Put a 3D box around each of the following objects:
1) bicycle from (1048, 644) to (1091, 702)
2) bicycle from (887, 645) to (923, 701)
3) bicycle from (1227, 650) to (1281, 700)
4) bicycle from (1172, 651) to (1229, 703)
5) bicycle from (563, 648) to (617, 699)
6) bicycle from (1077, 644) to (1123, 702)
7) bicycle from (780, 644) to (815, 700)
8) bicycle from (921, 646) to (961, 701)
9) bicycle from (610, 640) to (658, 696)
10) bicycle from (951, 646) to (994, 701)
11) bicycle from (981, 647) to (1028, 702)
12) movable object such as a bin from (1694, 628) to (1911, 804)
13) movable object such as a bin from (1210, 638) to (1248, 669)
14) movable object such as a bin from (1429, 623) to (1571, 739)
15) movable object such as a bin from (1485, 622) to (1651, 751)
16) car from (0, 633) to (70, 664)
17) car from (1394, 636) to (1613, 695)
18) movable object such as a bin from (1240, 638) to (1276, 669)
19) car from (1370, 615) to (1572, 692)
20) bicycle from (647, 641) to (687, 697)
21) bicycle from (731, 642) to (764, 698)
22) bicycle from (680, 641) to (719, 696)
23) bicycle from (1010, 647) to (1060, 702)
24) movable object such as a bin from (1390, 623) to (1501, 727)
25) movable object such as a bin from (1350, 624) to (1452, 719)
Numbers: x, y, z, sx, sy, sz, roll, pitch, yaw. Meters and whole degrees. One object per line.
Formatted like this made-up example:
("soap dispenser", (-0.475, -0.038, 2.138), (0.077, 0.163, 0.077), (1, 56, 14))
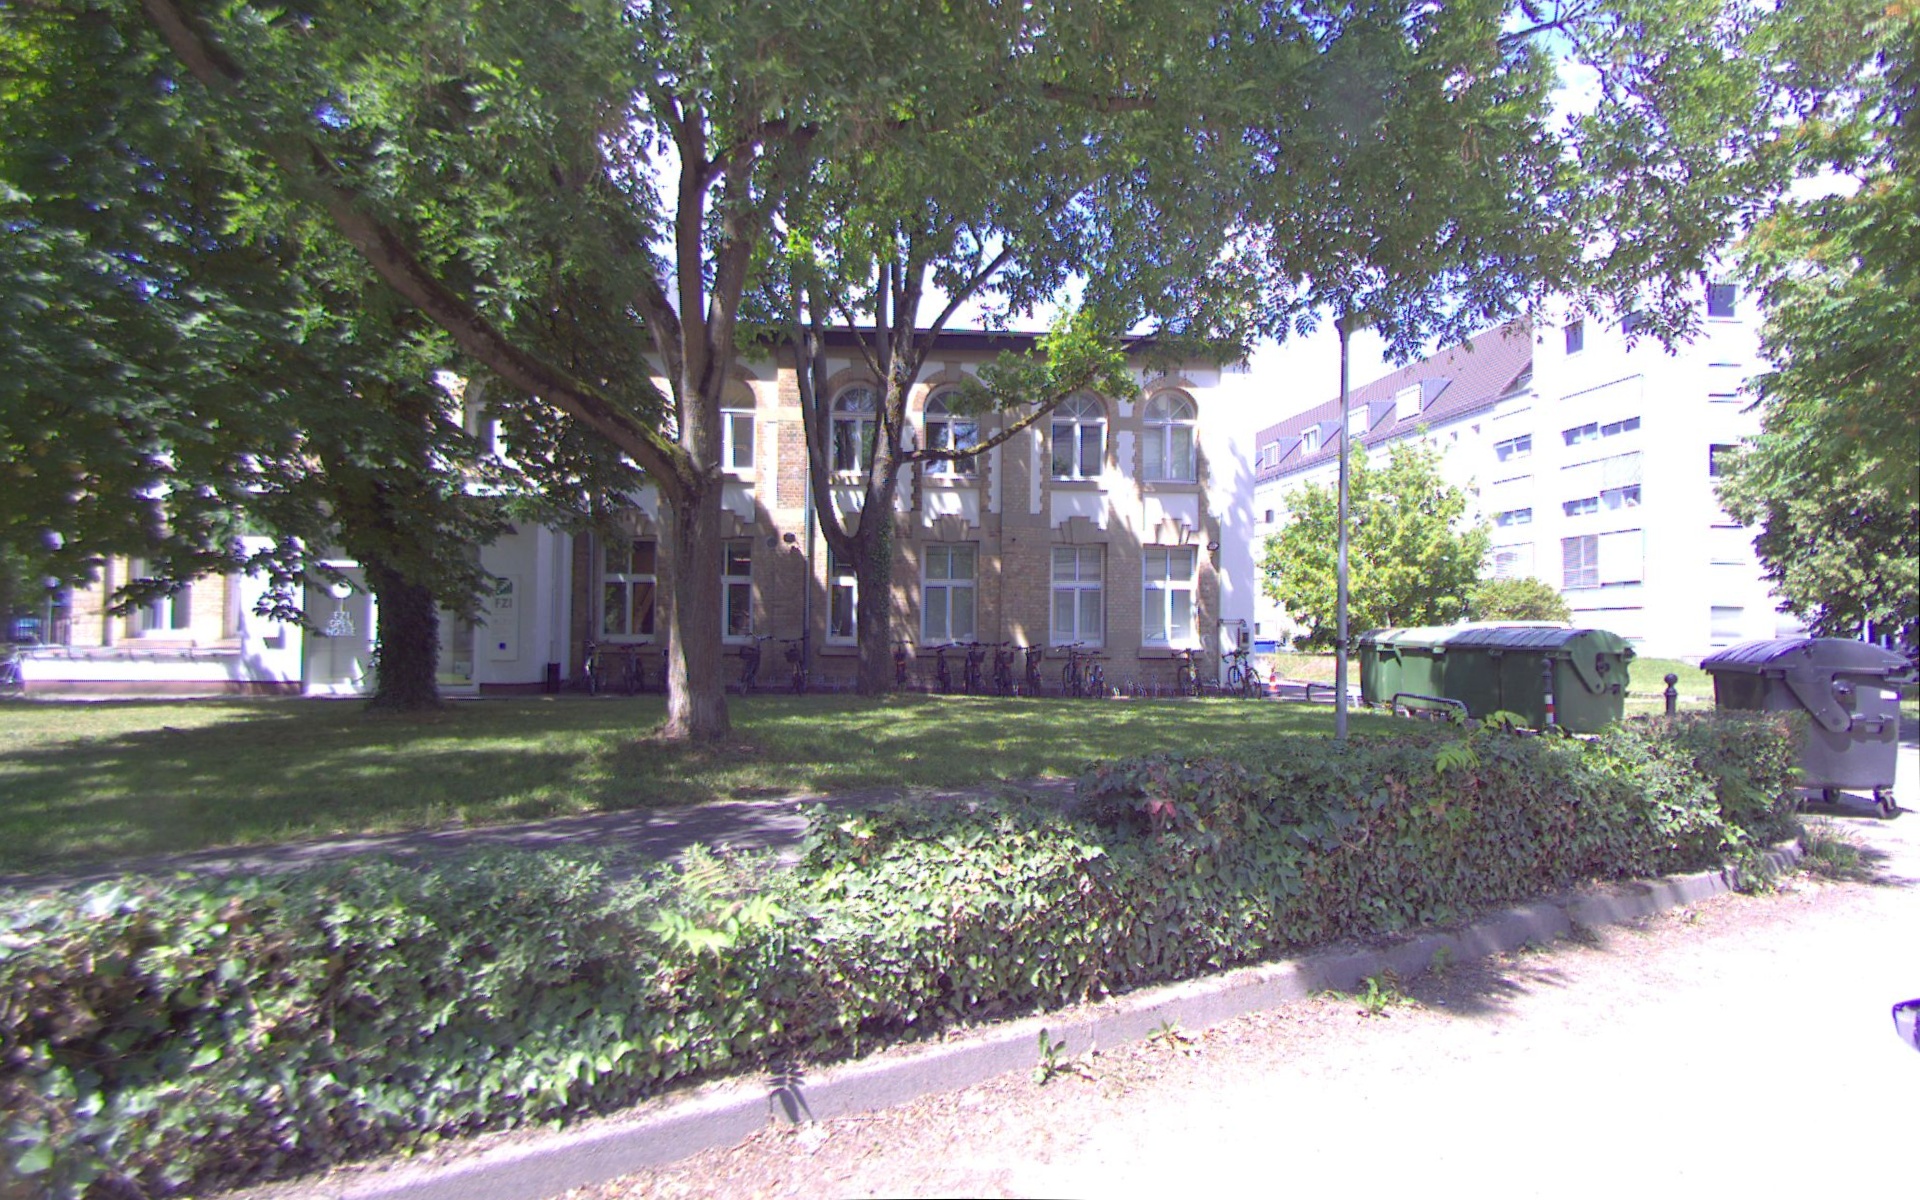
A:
("bicycle", (2.267, 1.494, 20.946), (0.595, 1.096, 2.259), (1, -1, -1))
("bicycle", (-1.140, 1.462, 20.531), (0.596, 1.024, 2.257), (1, -1, -7))
("bicycle", (6.173, 1.560, 21.160), (0.602, 0.971, 1.730), (1, -1, -1))
("bicycle", (4.997, 1.587, 21.028), (0.595, 0.971, 2.259), (1, -1, -1))
("bicycle", (-7.297, 1.421, 19.896), (0.644, 0.902, 2.255), (1, -1, -11))
("bicycle", (2.898, 1.481, 20.942), (0.595, 1.096, 2.259), (1, -1, -1))
("bicycle", (-3.282, 1.432, 20.444), (0.596, 1.024, 2.257), (1, -1, -7))
("bicycle", (-0.403, 1.479, 20.645), (0.596, 1.024, 2.257), (1, -1, -7))
("bicycle", (-6.531, 1.336, 20.202), (0.621, 1.025, 2.255), (1, -1, -11))
("bicycle", (0.236, 1.481, 20.678), (0.596, 1.024, 2.257), (1, -1, -7))
("bicycle", (0.892, 1.513, 20.723), (0.596, 1.024, 2.257), (1, -1, -7))
("movable object such as a bin", (7.301, 0.954, 8.801), (1.094, 1.412, 1.160), (-1, -2, 20))
("movable object such as a bin", (11.663, 2.313, 43.526), (1.317, 1.344, 1.160), (0, -2, -1))
("movable object such as a bin", (7.345, 1.069, 13.729), (1.078, 1.499, 1.357), (0, -2, -14))
("movable object such as a bin", (7.449, 1.033, 12.399), (1.185, 1.499, 1.324), (0, -2, -6))
("car", (-48.605, 2.512, 52.704), (1.788, 1.498, 3.976), (0, -2, -25))
("car", (13.438, 1.602, 24.996), (4.537, 1.370, 1.833), (1, -1, -3))
("movable object such as a bin", (12.935, 2.309, 43.626), (1.196, 1.344, 1.160), (0, -2, -1))
("car", (14.222, 1.501, 28.127), (4.683, 2.040, 2.000), (1, -2, -4))
("bicycle", (-5.880, 1.355, 20.233), (0.560, 1.024, 2.255), (1, -1, -11))
("bicycle", (-4.312, 1.398, 20.454), (0.596, 1.024, 2.255), (1, -1, -11))
("bicycle", (-5.263, 1.364, 20.379), (0.596, 1.024, 2.255), (1, -1, -11))
("bicycle", (1.530, 1.515, 20.817), (0.596, 1.024, 2.257), (1, -1, -7))
("movable object such as a bin", (7.281, 1.108, 15.136), (1.027, 1.499, 1.261), (0, -2, -3))
("movable object such as a bin", (7.264, 1.150, 16.629), (1.027, 1.499, 1.410), (0, -2, -3))
